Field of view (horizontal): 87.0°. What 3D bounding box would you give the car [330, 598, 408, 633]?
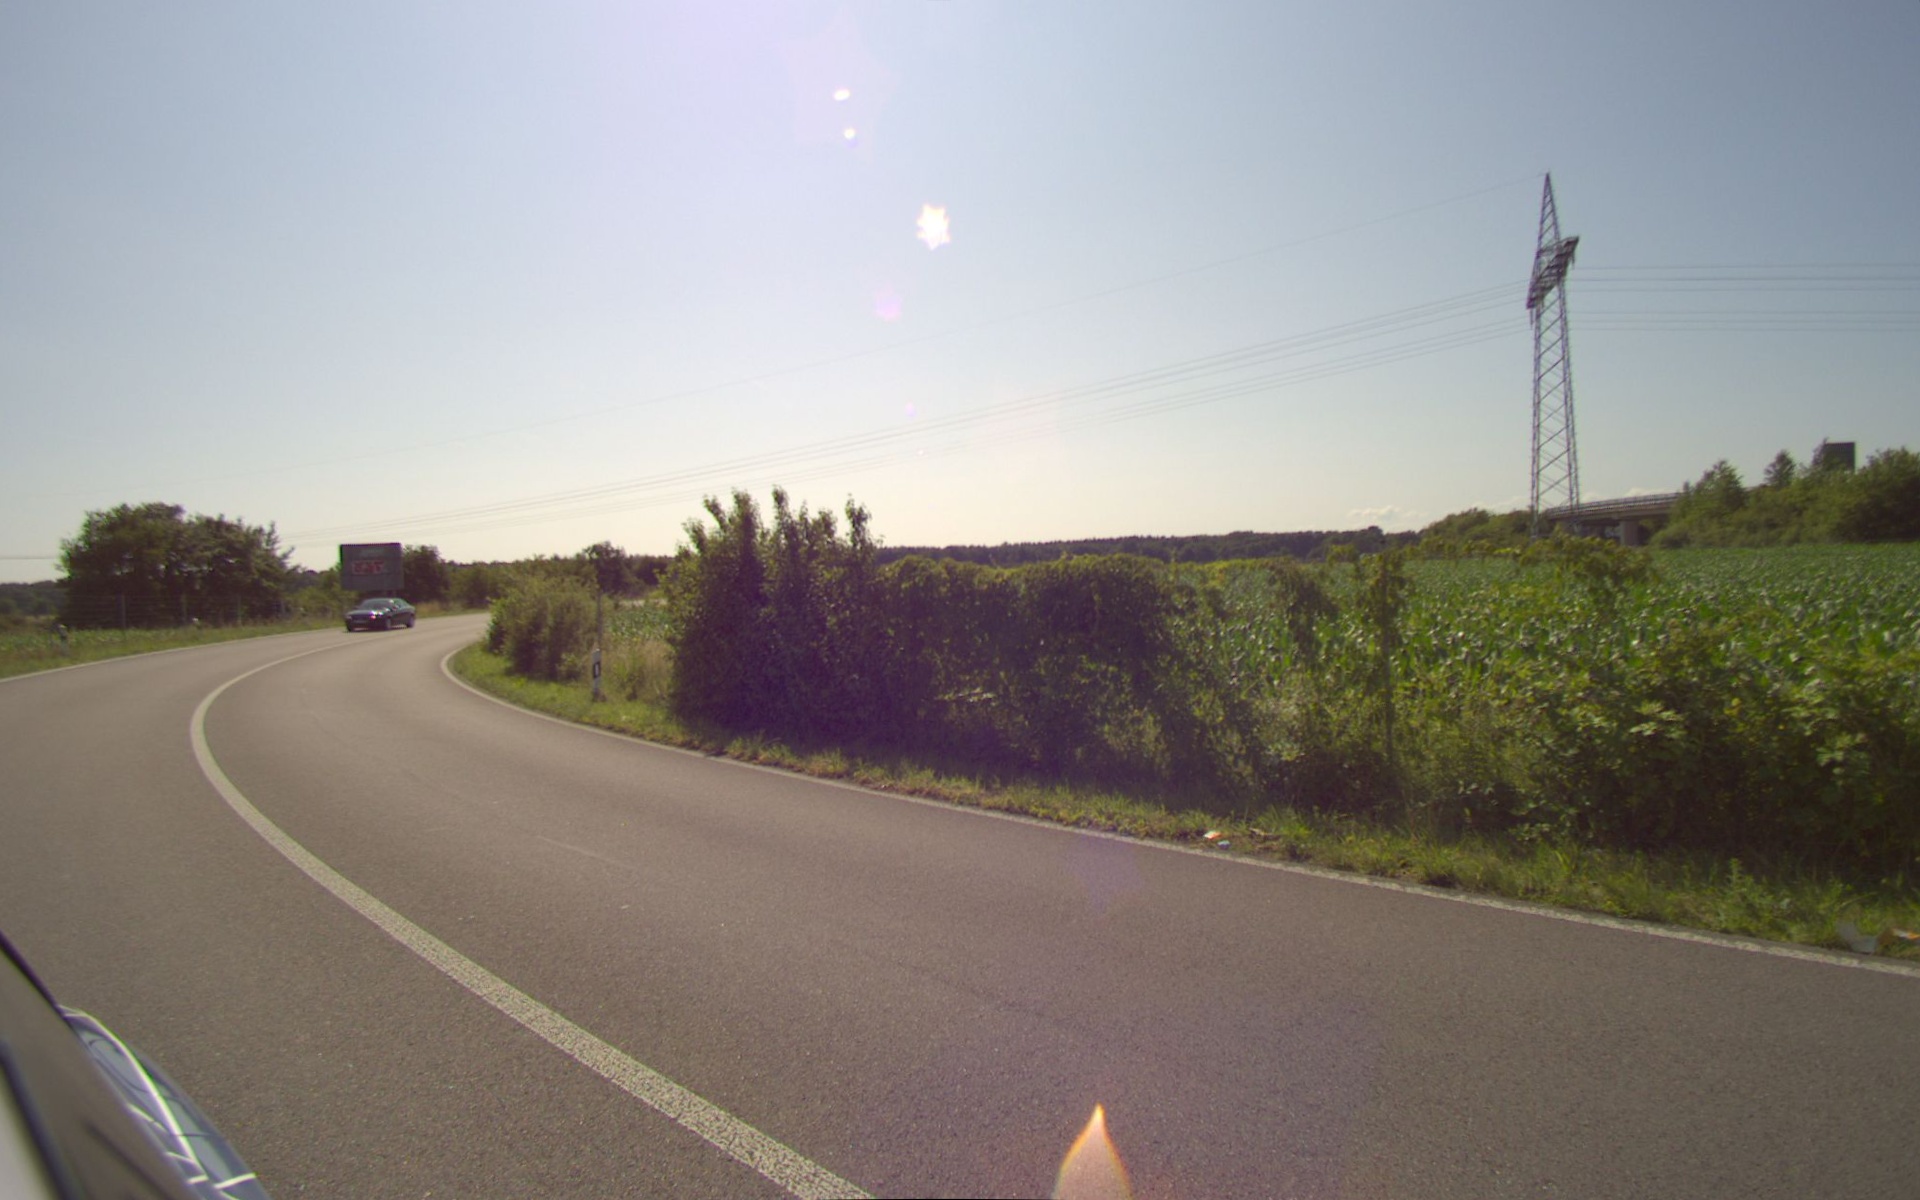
[{"bbox_3d":[-26.895,0.691,46.212,1.857,1.467,4.085,0,1,-12],"label":"car"}]
